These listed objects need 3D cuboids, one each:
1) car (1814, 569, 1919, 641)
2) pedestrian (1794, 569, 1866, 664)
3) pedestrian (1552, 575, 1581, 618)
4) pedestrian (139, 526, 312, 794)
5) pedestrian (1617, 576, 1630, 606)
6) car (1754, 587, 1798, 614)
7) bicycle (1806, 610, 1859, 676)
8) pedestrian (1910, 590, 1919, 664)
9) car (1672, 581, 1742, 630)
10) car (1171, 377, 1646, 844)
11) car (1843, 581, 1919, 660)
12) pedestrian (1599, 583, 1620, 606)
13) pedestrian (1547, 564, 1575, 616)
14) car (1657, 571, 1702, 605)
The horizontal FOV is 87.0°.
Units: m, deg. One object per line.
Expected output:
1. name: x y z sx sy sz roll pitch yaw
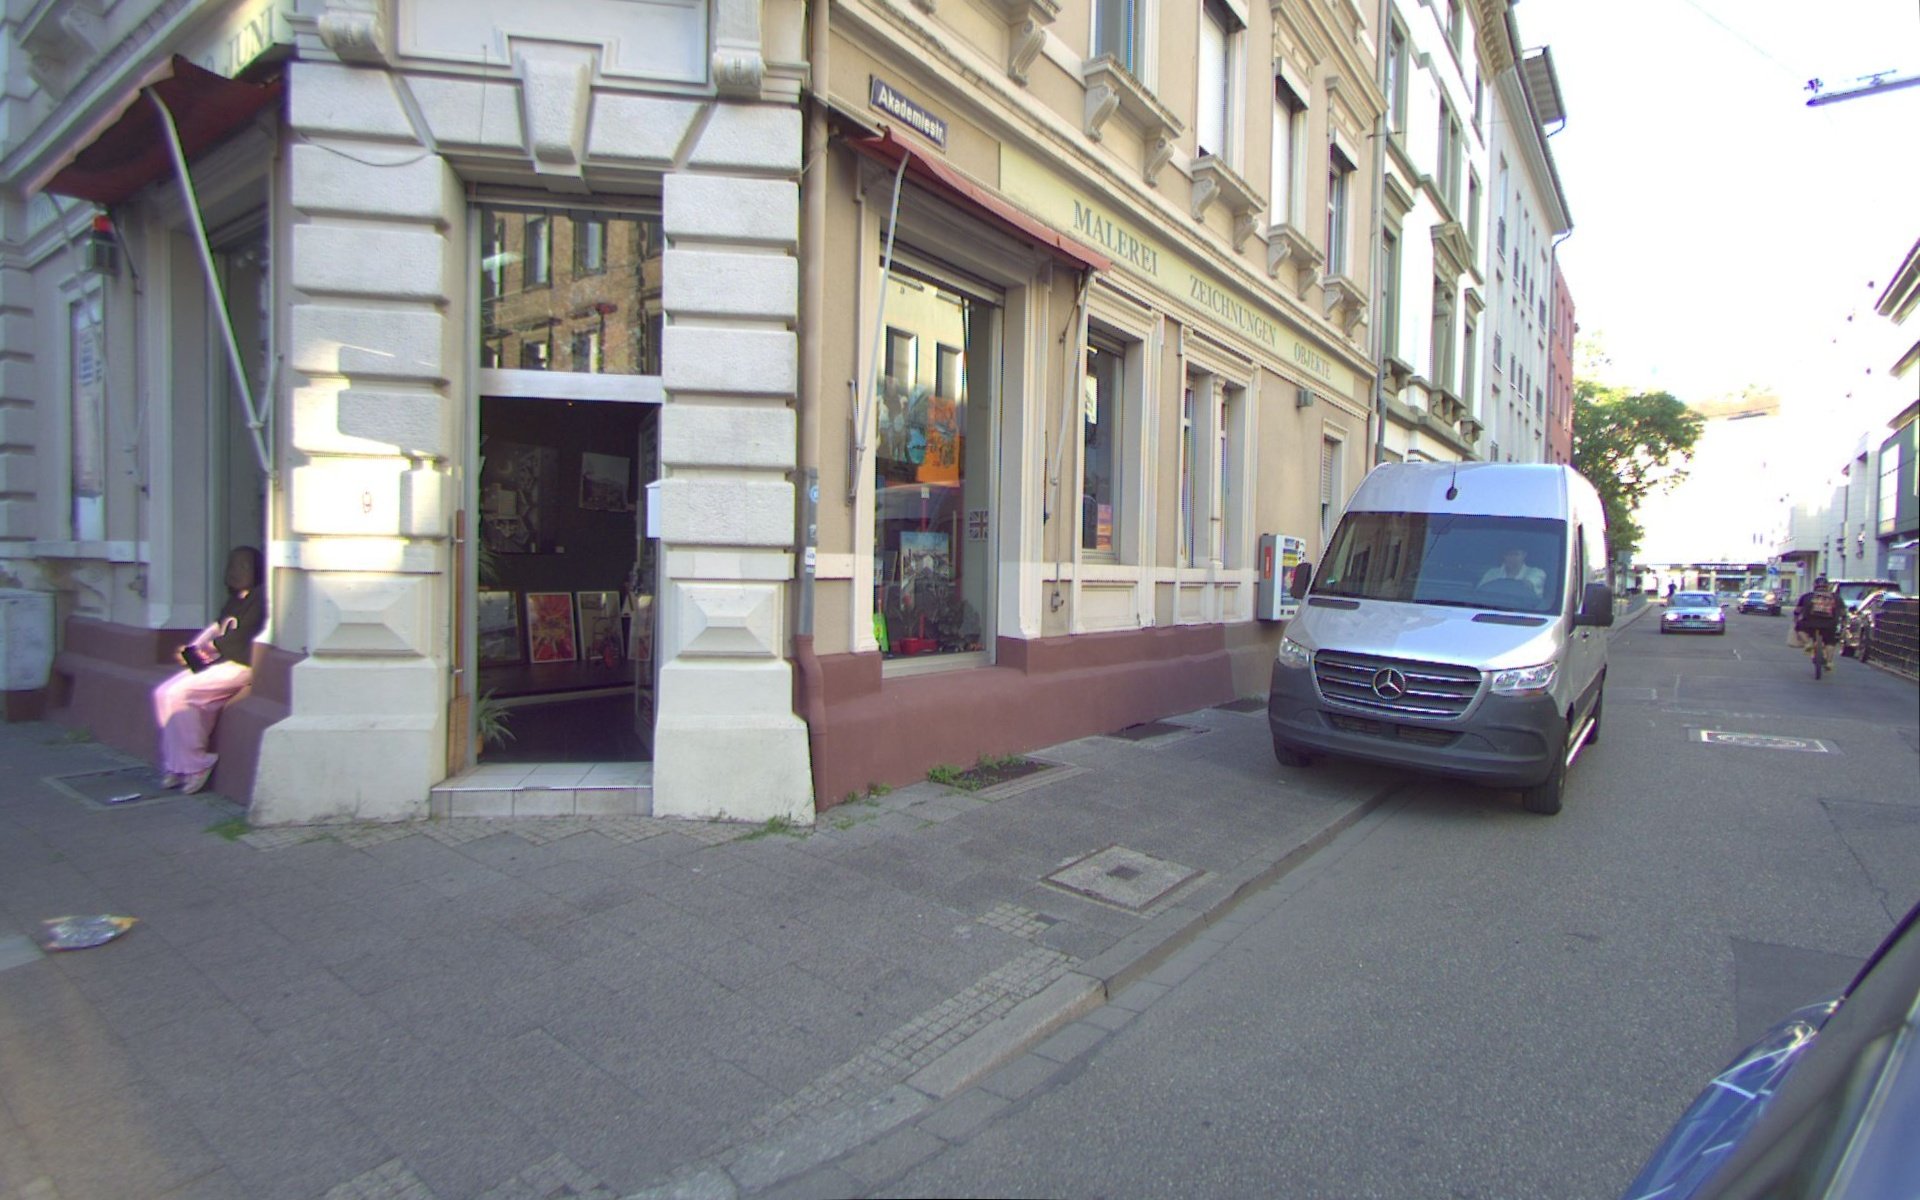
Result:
1. car: 28.350 0.097 31.563 1.987 1.963 4.792 4 3 34
2. pedestrian: 15.007 0.261 17.489 0.827 1.564 1.068 2 2 37
3. pedestrian: 22.201 -0.133 37.028 0.823 1.504 0.652 3 2 36
4. pedestrian: -4.409 0.322 6.090 0.577 1.490 0.707 1 1 37
5. pedestrian: 38.406 -0.530 58.562 0.437 1.666 0.548 4 3 43
6. car: 50.088 0.014 62.125 1.991 1.434 4.494 5 4 39
7. bicycle: 14.978 0.712 17.405 0.537 1.020 1.955 2 2 37
8. pedestrian: 17.654 0.492 18.124 0.779 1.303 0.903 2 2 37
9. car: 25.179 0.141 34.211 1.778 1.543 3.950 0 1 35
10. car: 4.167 -0.021 8.497 2.272 2.469 6.120 2 2 37
11. car: 21.470 0.439 22.664 1.875 1.587 4.713 5 4 34
12. pedestrian: 37.761 -0.342 58.830 0.923 1.264 0.358 4 3 34
13. pedestrian: 21.627 -0.362 36.410 0.654 1.814 0.724 5 3 26
14. car: 46.583 -0.798 65.524 1.992 2.038 3.942 2 2 40
